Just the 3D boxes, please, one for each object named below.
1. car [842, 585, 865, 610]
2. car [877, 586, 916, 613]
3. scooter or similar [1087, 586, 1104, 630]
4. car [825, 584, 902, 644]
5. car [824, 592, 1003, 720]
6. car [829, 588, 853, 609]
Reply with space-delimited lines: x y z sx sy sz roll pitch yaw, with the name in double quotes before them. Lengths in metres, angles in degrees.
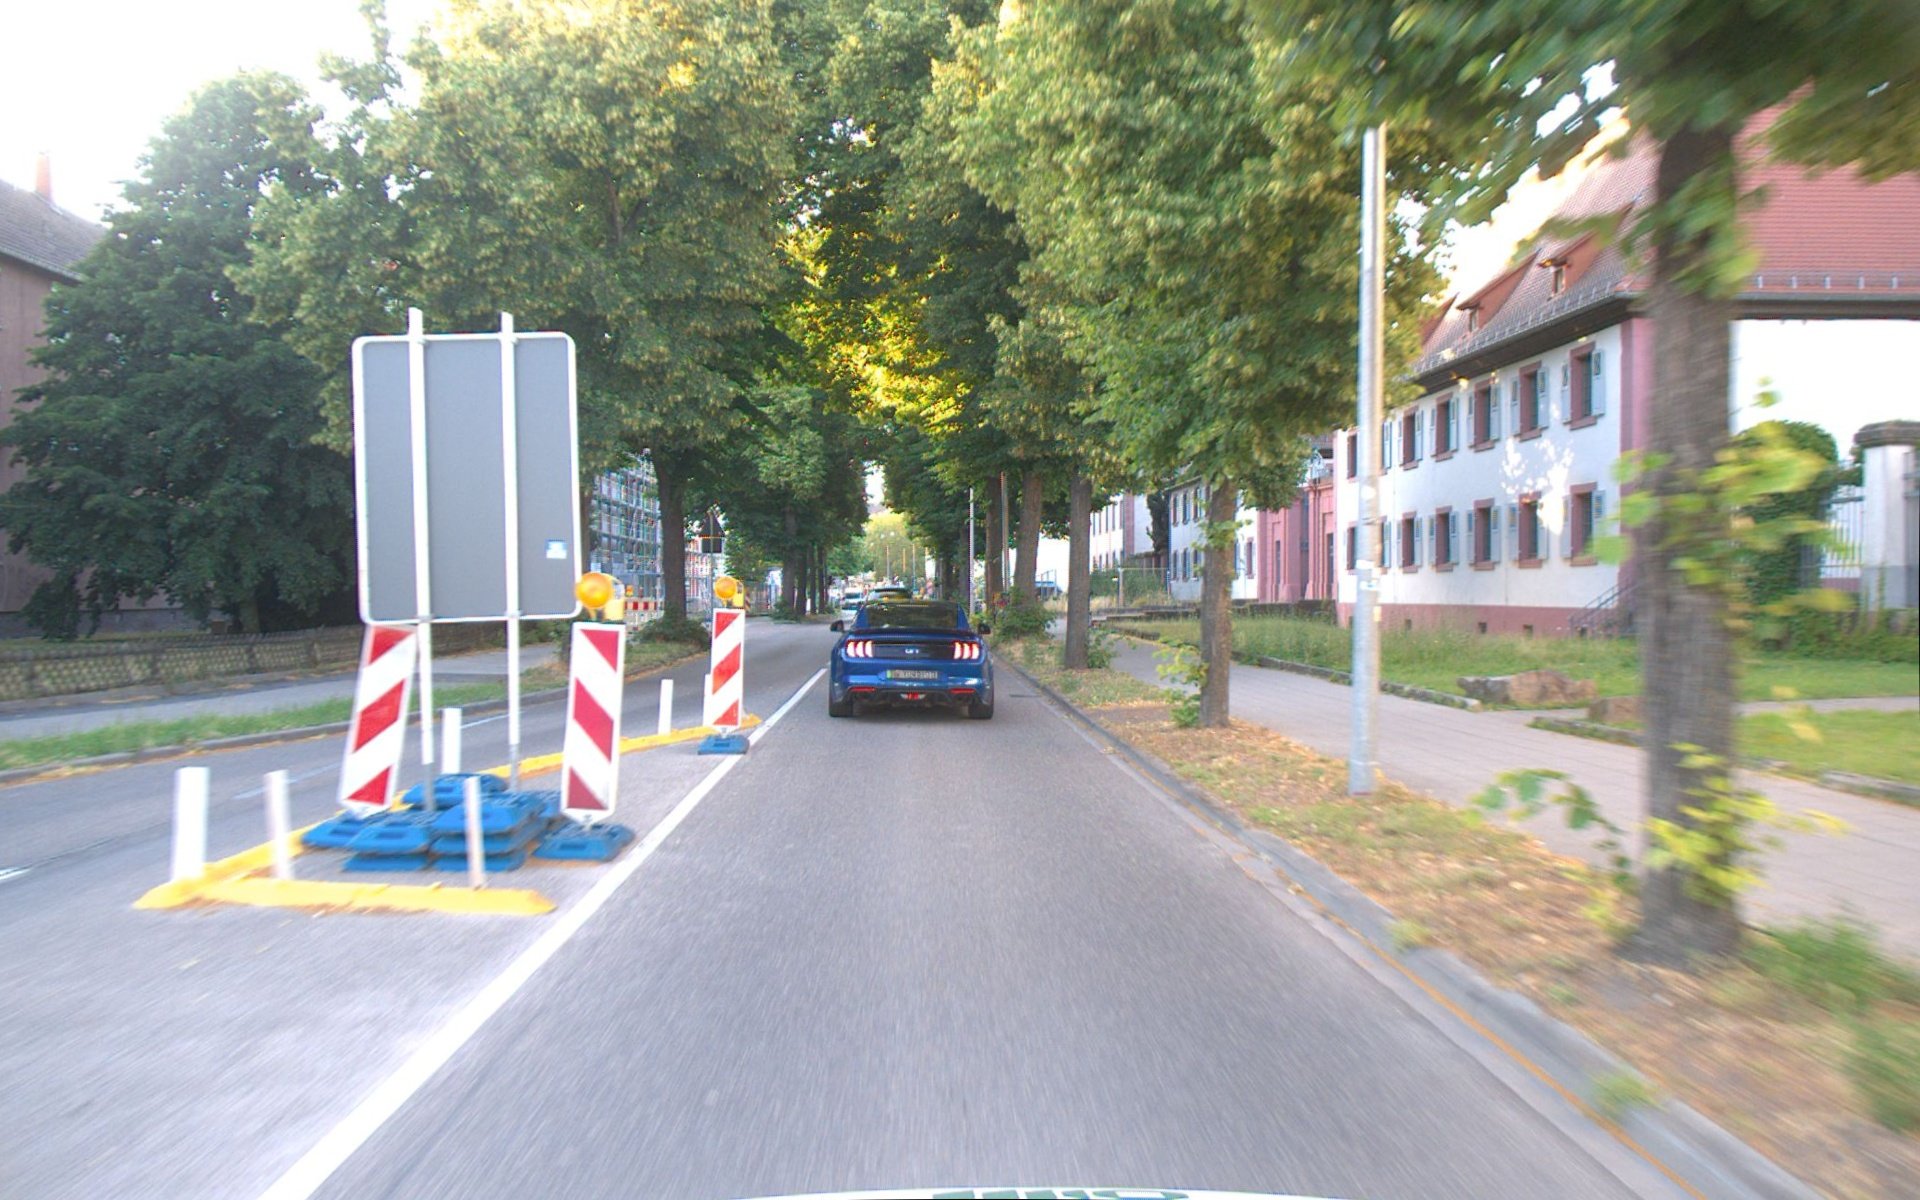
"car" -12.350 -0.293 192.236 2.442 2.744 5.827 -1 0 -3
"car" -3.354 -0.023 87.994 1.907 1.350 4.000 1 0 0
"scooter or similar" 3.972 0.236 48.630 0.234 1.298 1.265 -1 0 -7
"car" -2.684 0.372 46.775 1.907 1.553 4.000 1 0 0
"car" -0.580 0.600 19.943 1.908 1.350 3.998 1 0 -2
"car" -13.033 -0.190 180.811 2.288 2.236 5.308 0 0 -1
